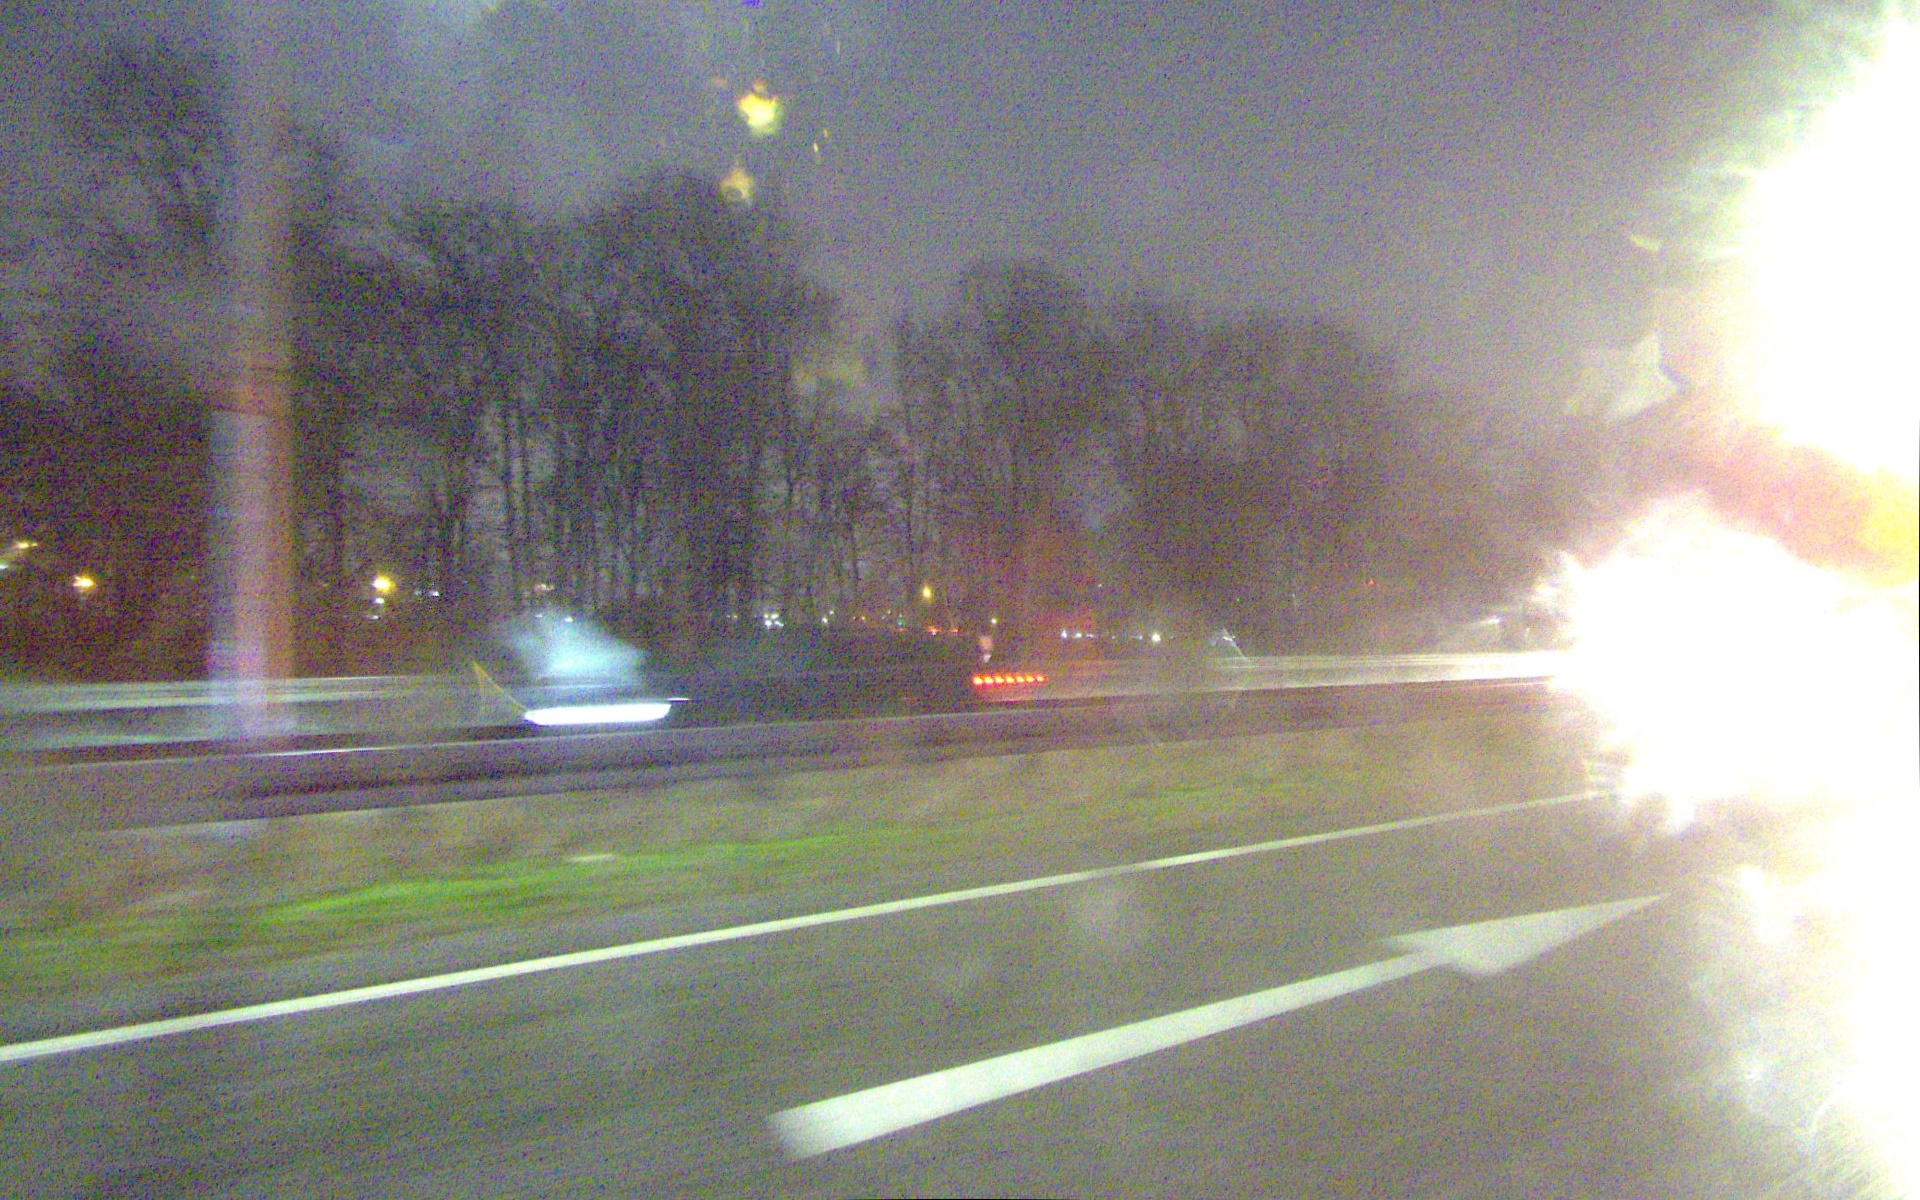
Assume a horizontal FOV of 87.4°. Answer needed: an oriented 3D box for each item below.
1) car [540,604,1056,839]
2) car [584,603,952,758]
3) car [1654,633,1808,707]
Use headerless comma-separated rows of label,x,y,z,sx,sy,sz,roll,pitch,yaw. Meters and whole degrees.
car,-1.556,1.049,10.145,4.654,1.798,2.153,2,1,-32
car,-2.630,1.052,14.147,4.654,1.798,1.982,2,1,-32
car,21.752,1.949,28.315,4.151,1.833,1.984,2,1,-30
